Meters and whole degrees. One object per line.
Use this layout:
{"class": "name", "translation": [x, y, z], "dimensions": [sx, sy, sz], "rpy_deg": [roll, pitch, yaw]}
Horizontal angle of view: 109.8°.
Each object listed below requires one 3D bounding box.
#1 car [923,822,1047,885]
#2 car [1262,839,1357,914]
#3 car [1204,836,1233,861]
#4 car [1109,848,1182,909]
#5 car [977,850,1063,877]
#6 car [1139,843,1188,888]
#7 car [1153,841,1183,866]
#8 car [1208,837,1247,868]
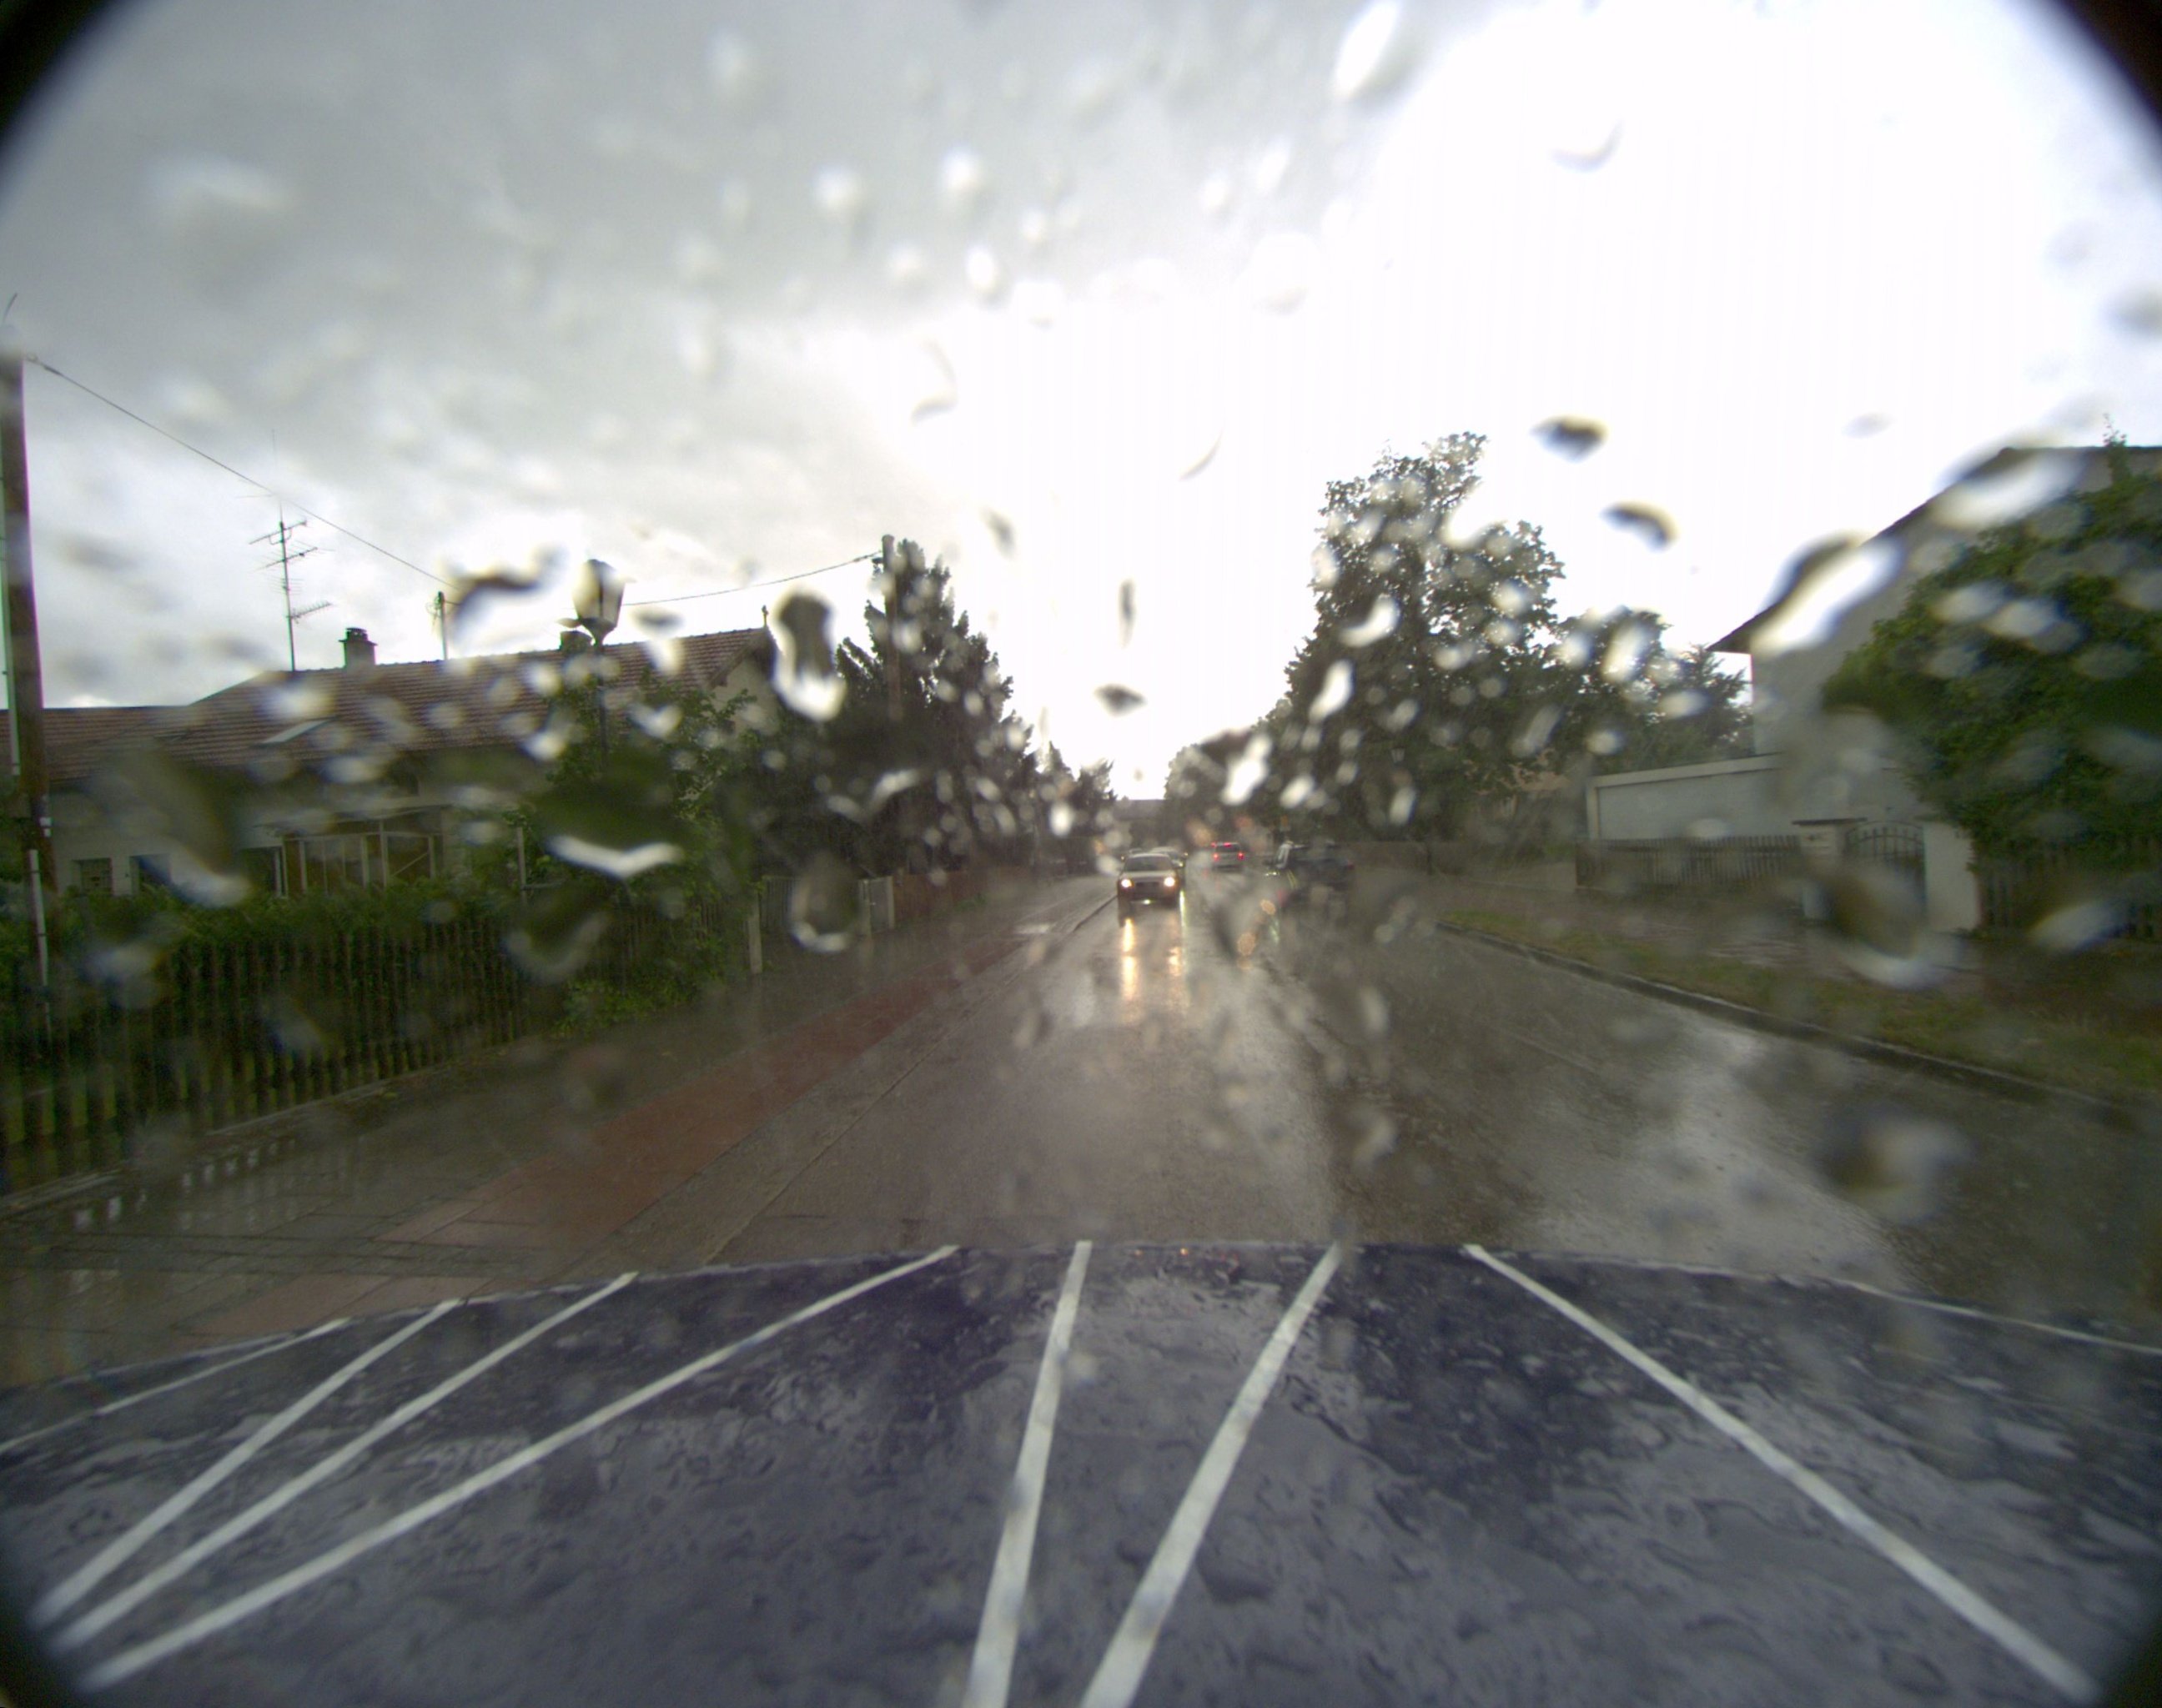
{"class": "car", "translation": [-4.211, -0.023, 34.096], "dimensions": [5.318, 2.712, 1.999], "rpy_deg": [0, 1, -2]}
{"class": "car", "translation": [5.443, 0.476, 18.446], "dimensions": [1.590, 1.601, 3.540], "rpy_deg": [-1, 1, 7]}
{"class": "car", "translation": [10.390, -0.484, 57.602], "dimensions": [1.926, 1.734, 4.193], "rpy_deg": [-3, 1, 8]}
{"class": "car", "translation": [1.964, 0.629, 22.184], "dimensions": [1.871, 1.512, 4.190], "rpy_deg": [-3, 1, 7]}
{"class": "car", "translation": [-3.215, 0.507, 40.724], "dimensions": [4.440, 1.413, 1.830], "rpy_deg": [0, 1, -1]}
{"class": "car", "translation": [3.673, 0.425, 33.387], "dimensions": [1.871, 1.603, 4.962], "rpy_deg": [-4, 1, 7]}
{"class": "car", "translation": [6.041, -0.088, 52.653], "dimensions": [1.871, 1.512, 4.963], "rpy_deg": [-4, 1, 7]}
{"class": "car", "translation": [8.419, -0.116, 43.974], "dimensions": [1.757, 1.668, 4.001], "rpy_deg": [-1, 1, 4]}
